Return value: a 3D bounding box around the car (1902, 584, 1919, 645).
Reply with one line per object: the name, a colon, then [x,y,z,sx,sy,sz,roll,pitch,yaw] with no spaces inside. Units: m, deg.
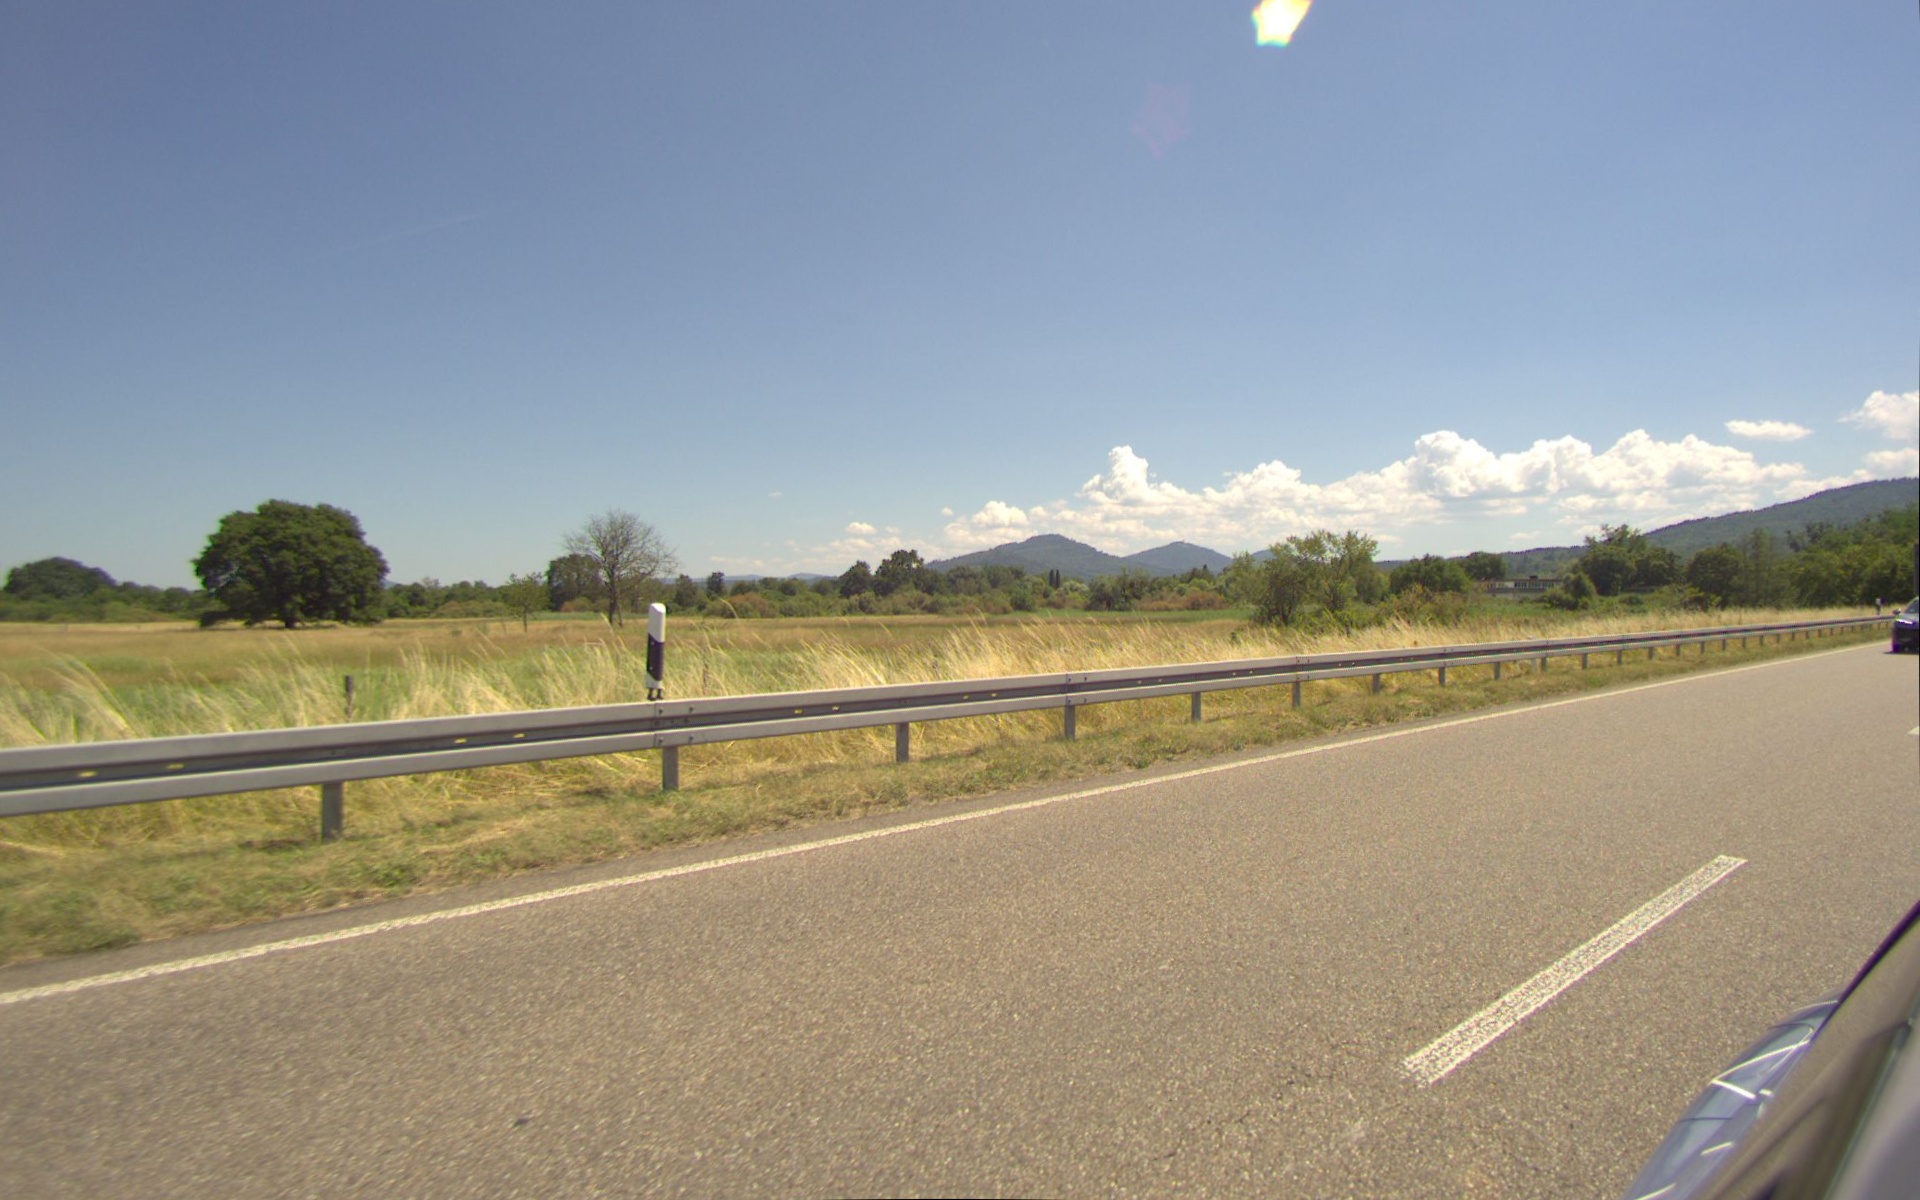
car: [26.602,0.399,26.917,3.948,1.572,1.789,0,2,-40]
